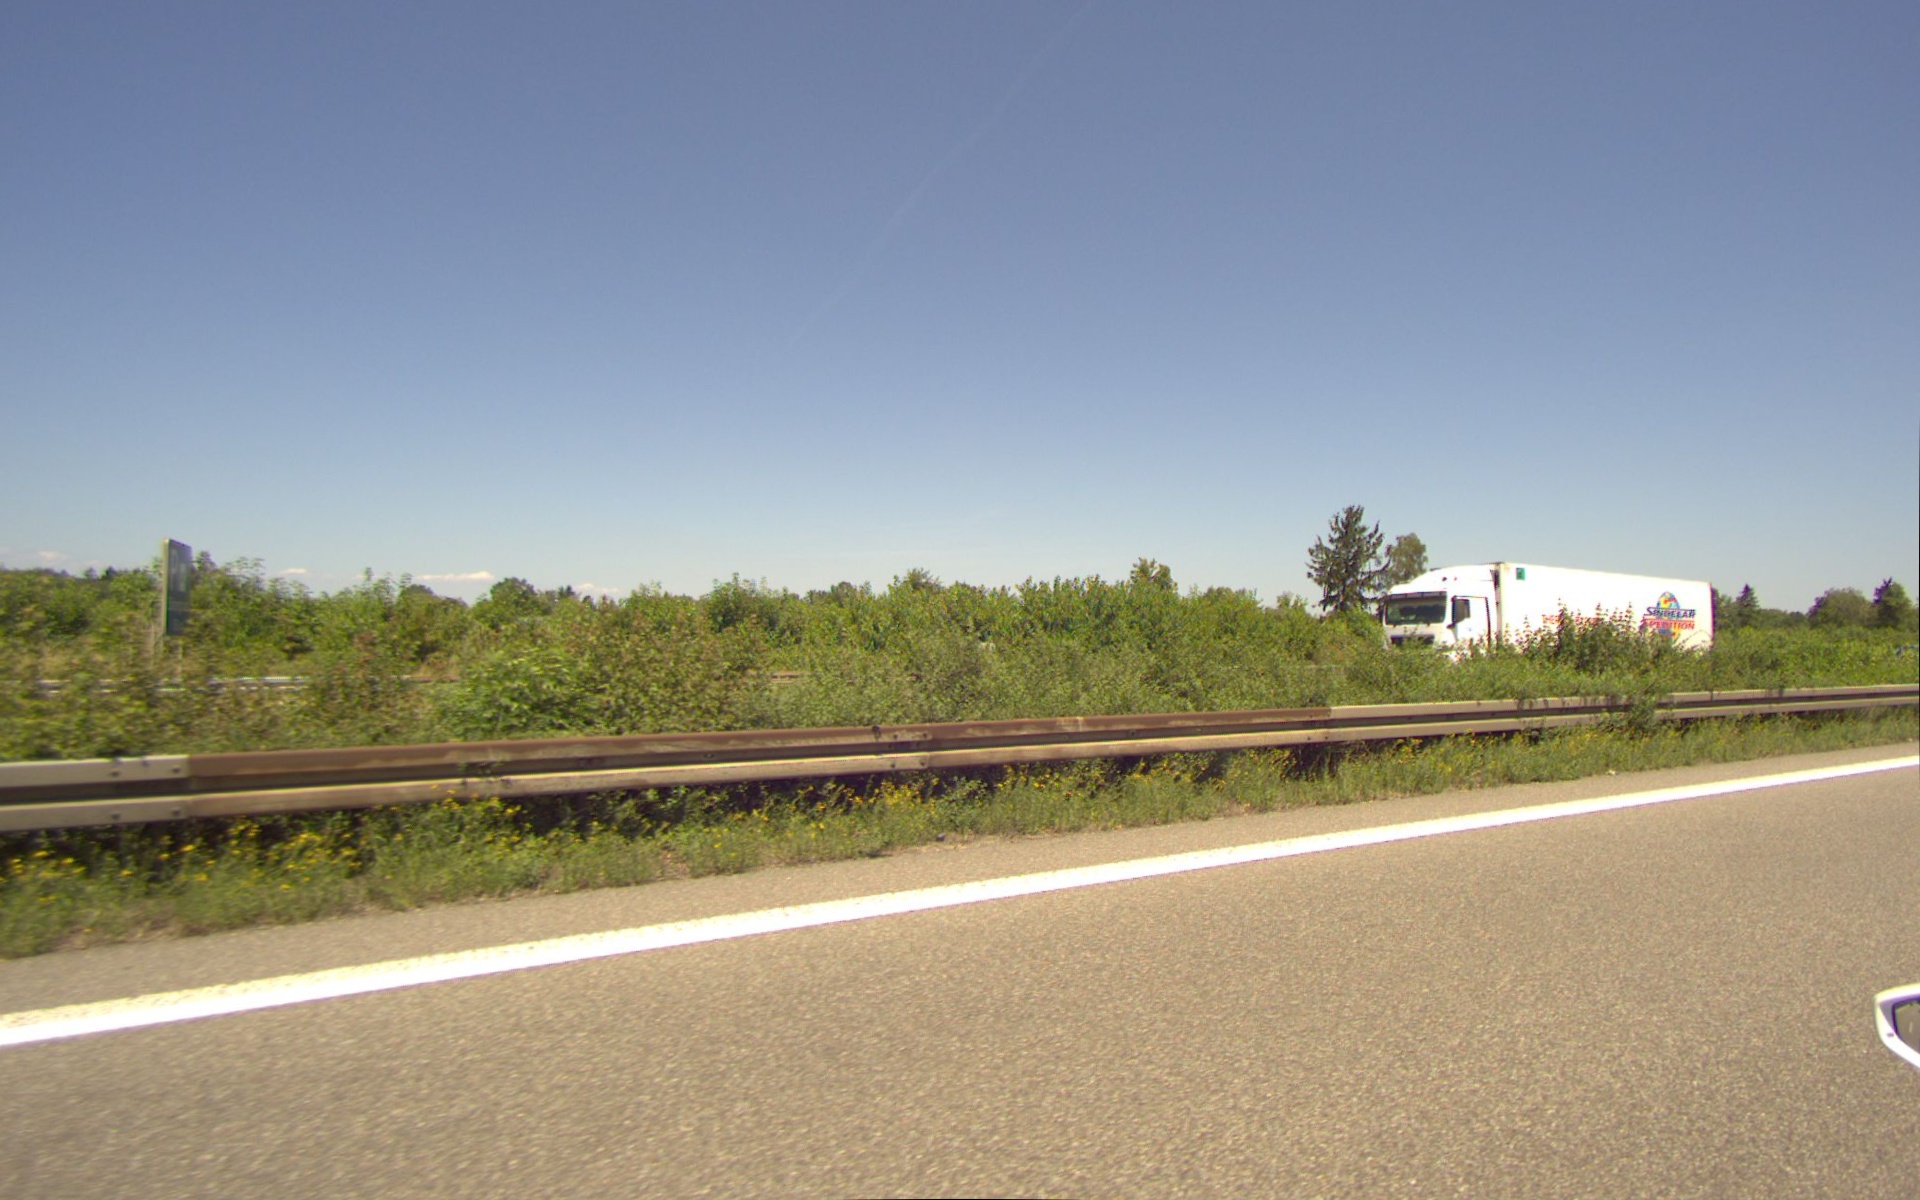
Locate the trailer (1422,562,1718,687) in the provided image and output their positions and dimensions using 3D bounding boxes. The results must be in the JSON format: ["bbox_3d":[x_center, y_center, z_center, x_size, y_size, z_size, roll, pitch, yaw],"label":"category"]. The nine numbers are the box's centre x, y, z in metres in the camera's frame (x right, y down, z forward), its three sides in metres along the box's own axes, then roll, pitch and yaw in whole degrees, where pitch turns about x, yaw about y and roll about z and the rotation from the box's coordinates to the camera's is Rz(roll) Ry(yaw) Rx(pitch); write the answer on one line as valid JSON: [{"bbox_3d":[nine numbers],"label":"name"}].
[{"bbox_3d":[22.344,0.943,36.243,13.747,3.921,2.919,2,0,-31],"label":"trailer"}]

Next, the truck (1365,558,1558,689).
[{"bbox_3d":[16.328,0.752,32.683,5.684,3.921,2.919,2,0,-30],"label":"truck"}]
